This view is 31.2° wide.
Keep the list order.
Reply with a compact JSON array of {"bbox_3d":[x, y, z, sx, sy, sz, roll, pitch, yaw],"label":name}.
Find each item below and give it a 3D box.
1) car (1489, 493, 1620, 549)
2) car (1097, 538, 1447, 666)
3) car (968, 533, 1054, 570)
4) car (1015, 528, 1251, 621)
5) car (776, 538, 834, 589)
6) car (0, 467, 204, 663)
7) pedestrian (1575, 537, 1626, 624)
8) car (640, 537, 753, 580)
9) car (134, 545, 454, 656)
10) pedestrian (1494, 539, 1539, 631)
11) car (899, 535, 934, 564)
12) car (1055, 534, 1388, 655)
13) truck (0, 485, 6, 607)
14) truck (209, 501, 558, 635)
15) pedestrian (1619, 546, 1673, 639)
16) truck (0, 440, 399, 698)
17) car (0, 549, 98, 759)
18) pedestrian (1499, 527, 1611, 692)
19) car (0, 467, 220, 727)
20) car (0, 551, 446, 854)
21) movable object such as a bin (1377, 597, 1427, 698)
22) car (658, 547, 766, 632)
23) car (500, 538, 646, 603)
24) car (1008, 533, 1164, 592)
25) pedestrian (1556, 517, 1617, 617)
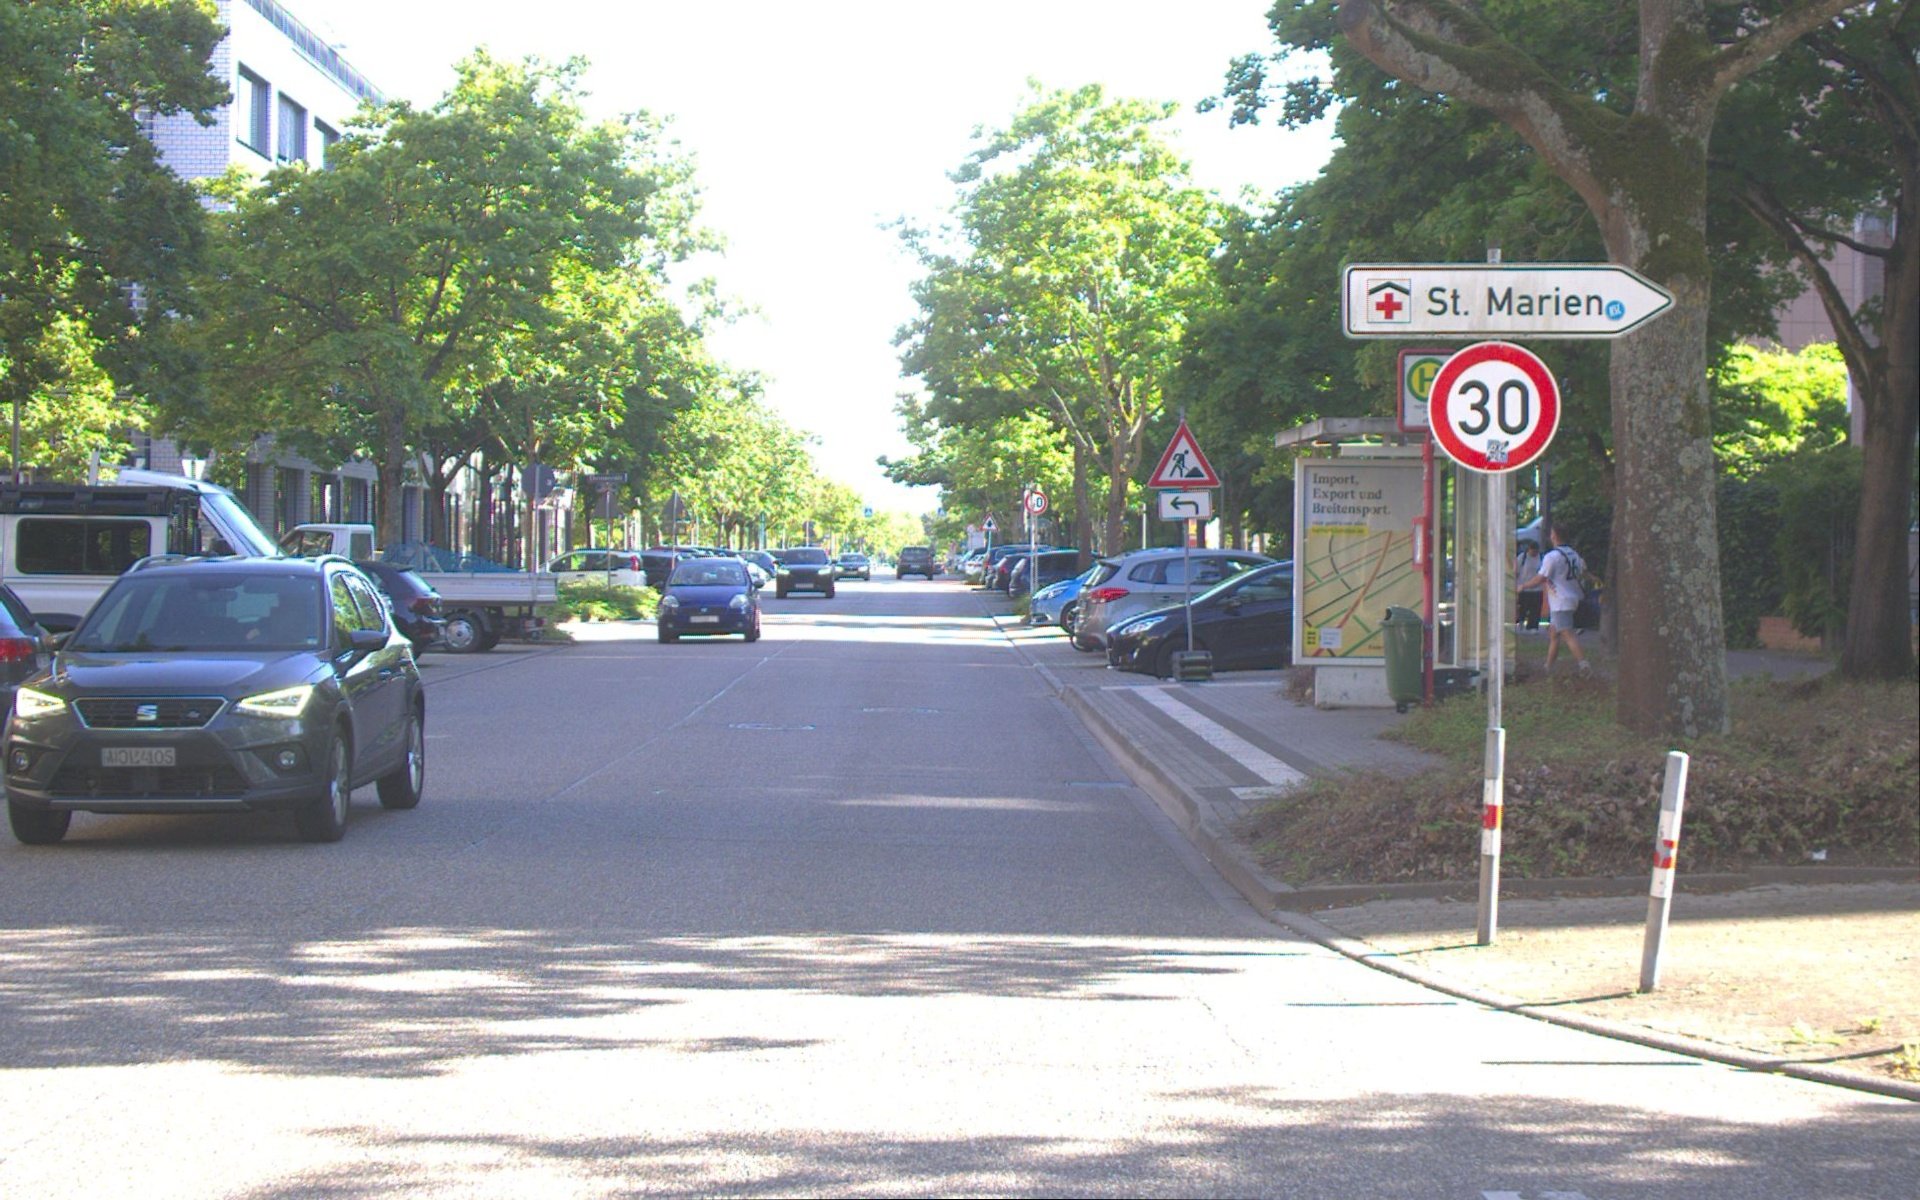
[{"bbox_3d":[20.789,-2.746,120.362,4.071,1.777,2.000,2,1,-4],"label":"car"},{"bbox_3d":[3.684,0.009,41.068,3.934,1.434,1.775,1,1,-2],"label":"car"},{"bbox_3d":[2.498,-2.385,168.419,3.986,1.786,2.000,1,1,-5],"label":"car"},{"bbox_3d":[3.329,-0.511,66.838,4.405,1.613,1.912,-2,1,-1],"label":"car"},{"bbox_3d":[-5.134,-1.227,114.069,1.891,1.678,4.353,0,1,-3],"label":"car"},{"bbox_3d":[-9.098,-0.367,30.972,4.107,1.656,2.000,2,1,-1],"label":"car"},{"bbox_3d":[10.800,-0.337,57.996,0.700,1.453,0.715,0,1,-3],"label":"pedestrian"},{"bbox_3d":[-9.389,-1.475,122.568,3.892,1.459,1.858,1,1,-1],"label":"car"},{"bbox_3d":[-9.123,-0.003,47.307,3.987,1.430,1.789,1,1,4],"label":"car"},{"bbox_3d":[9.355,-0.254,57.761,0.602,1.515,0.595,1,1,-4],"label":"pedestrian"},{"bbox_3d":[-2.400,-2.817,190.400,1.933,1.592,4.366,0,1,-1],"label":"car"},{"bbox_3d":[3.629,-0.088,48.225,4.351,1.592,1.940,1,1,-6],"label":"car"},{"bbox_3d":[-24.217,-1.193,75.027,6.103,2.695,2.578,0,1,-2],"label":"truck"},{"bbox_3d":[-8.878,-0.499,53.230,4.985,1.952,2.138,1,1,2],"label":"truck"},{"bbox_3d":[11.586,-0.128,58.063,0.756,1.547,0.559,1,1,-3],"label":"pedestrian"},{"bbox_3d":[-8.869,-0.335,34.065,6.232,2.413,2.187,1,1,0],"label":"truck"},{"bbox_3d":[-8.630,0.325,25.872,3.778,1.487,1.833,2,1,1],"label":"car"},{"bbox_3d":[6.386,0.090,36.940,0.917,1.705,0.698,-3,2,-13],"label":"pedestrian"},{"bbox_3d":[-8.632,-0.091,28.654,4.481,2.044,2.000,2,1,-2],"label":"car"},{"bbox_3d":[-4.090,0.493,19.440,1.779,1.506,4.000,1,1,0],"label":"car"},{"bbox_3d":[3.384,0.358,26.347,0.298,0.751,0.467,-2,1,0],"label":"movable object such as a bin"},{"bbox_3d":[-4.316,-0.207,60.168,1.643,1.415,4.000,0,1,-1],"label":"car"},{"bbox_3d":[-9.882,-0.749,87.920,3.580,1.544,1.637,1,-2,-3],"label":"car"},{"bbox_3d":[3.531,-1.057,96.892,4.267,1.628,1.858,0,1,-3],"label":"car"},{"bbox_3d":[11.029,-0.586,60.530,0.695,1.705,0.921,-3,2,-11],"label":"pedestrian"}]
